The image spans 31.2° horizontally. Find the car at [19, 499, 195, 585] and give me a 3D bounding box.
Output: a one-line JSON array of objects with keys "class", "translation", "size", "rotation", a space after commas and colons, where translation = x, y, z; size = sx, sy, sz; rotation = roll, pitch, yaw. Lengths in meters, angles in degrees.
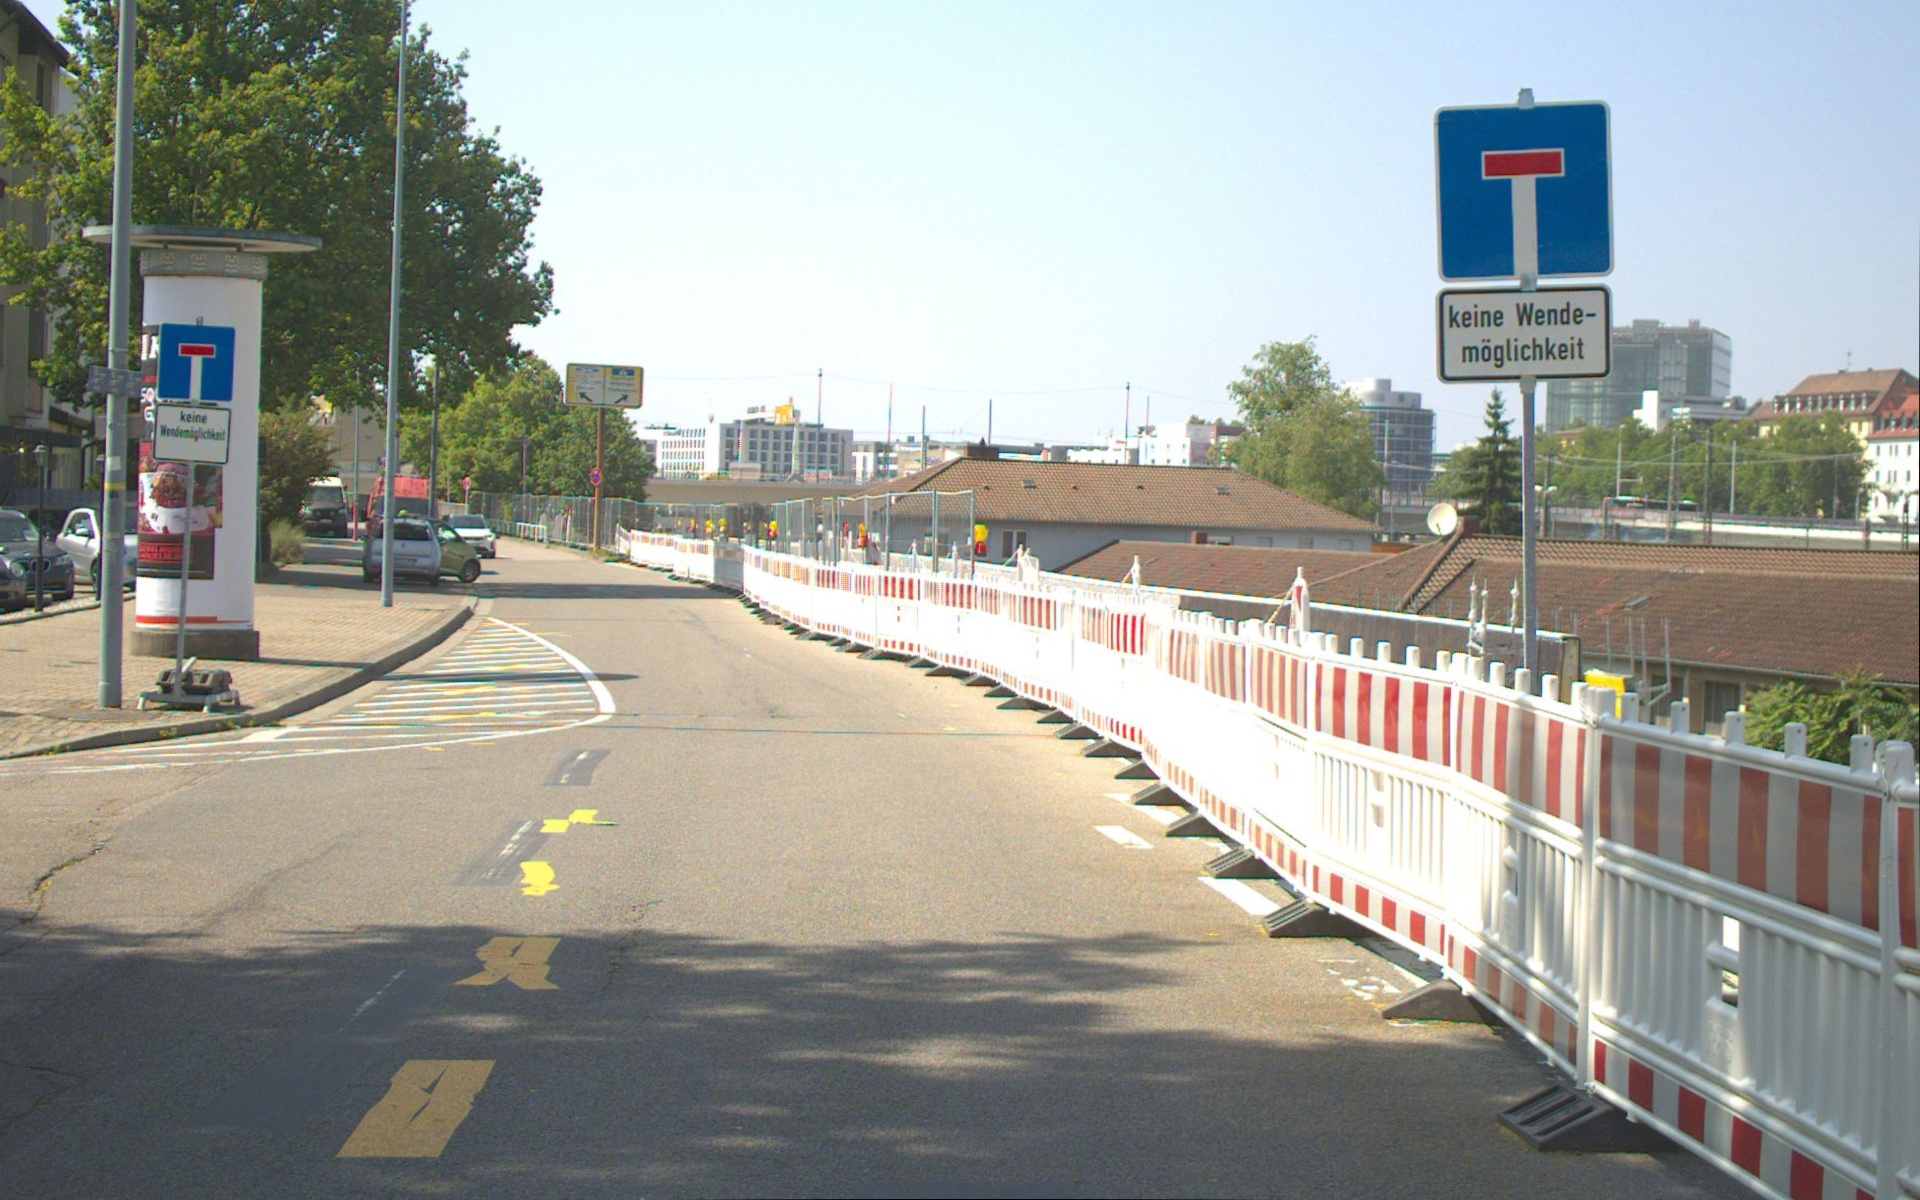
[{"class": "car", "translation": [-15.315, -1.061, 61.624], "size": [1.776, 1.468, 4.000], "rotation": [-2, 2, -34]}]

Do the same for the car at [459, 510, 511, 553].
[{"class": "car", "translation": [-16.407, -2.352, 118.763], "size": [1.716, 1.411, 4.079], "rotation": [1, 0, -8]}]

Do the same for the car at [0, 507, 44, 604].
[{"class": "car", "translation": [-15.739, -0.700, 53.445], "size": [1.667, 1.468, 4.000], "rotation": [-2, 2, -34]}]

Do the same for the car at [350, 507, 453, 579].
[{"class": "car", "translation": [-12.549, -1.307, 77.418], "size": [1.869, 1.493, 4.032], "rotation": [1, 2, -3]}]

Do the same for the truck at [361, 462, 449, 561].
[{"class": "truck", "translation": [-15.561, -2.448, 96.638], "size": [2.237, 2.639, 5.683], "rotation": [1, 0, -8]}]

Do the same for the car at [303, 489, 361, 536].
[{"class": "car", "translation": [-27.930, -3.877, 153.022], "size": [1.936, 1.828, 3.924], "rotation": [5, 0, -4]}]

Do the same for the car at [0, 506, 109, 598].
[{"class": "car", "translation": [-15.917, -0.828, 58.131], "size": [1.667, 1.468, 4.000], "rotation": [-2, 2, -34]}]
